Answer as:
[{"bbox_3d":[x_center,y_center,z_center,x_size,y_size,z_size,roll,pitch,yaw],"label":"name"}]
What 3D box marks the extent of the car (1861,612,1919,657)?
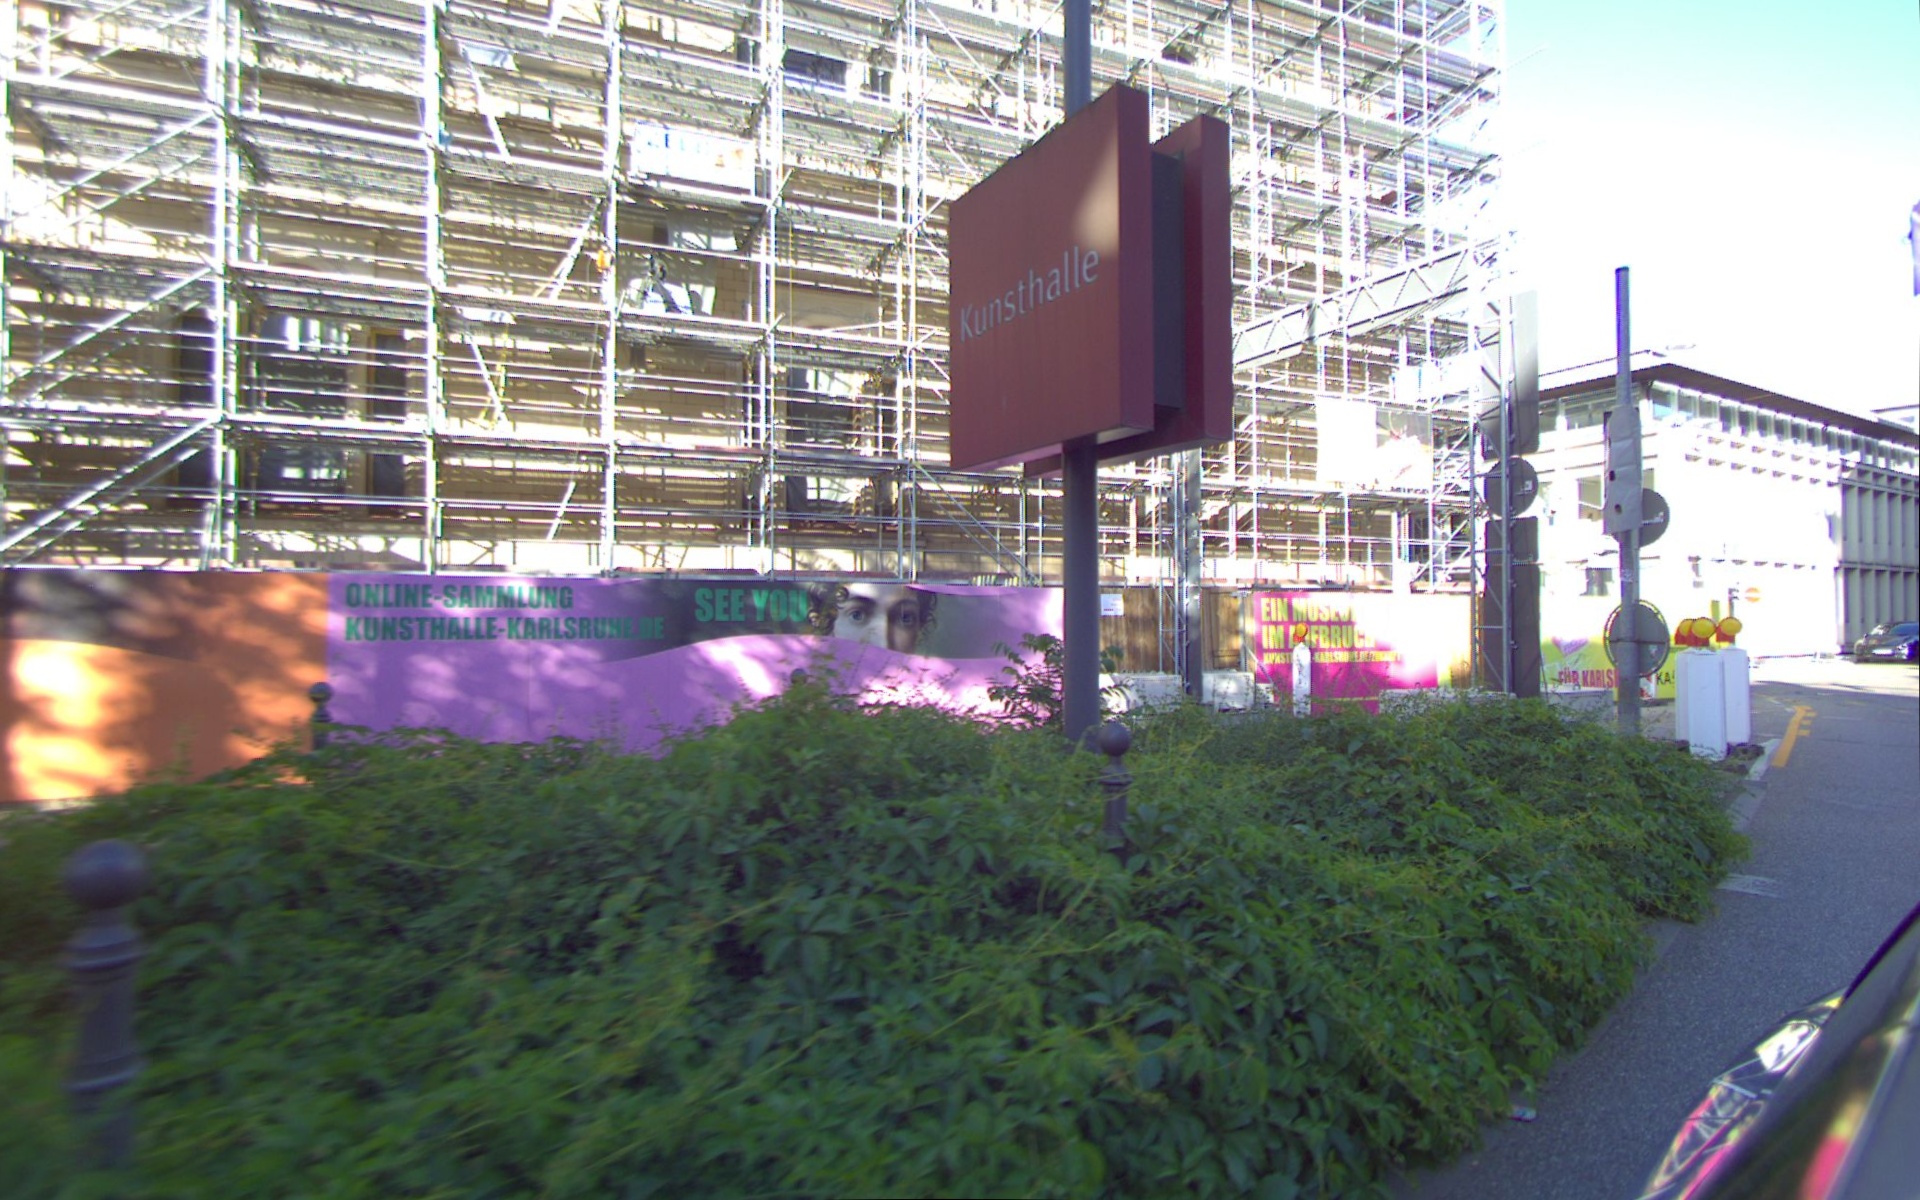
[{"bbox_3d":[36.447,1.298,38.527,4.529,1.645,1.901,1,-2,-31],"label":"car"}]
